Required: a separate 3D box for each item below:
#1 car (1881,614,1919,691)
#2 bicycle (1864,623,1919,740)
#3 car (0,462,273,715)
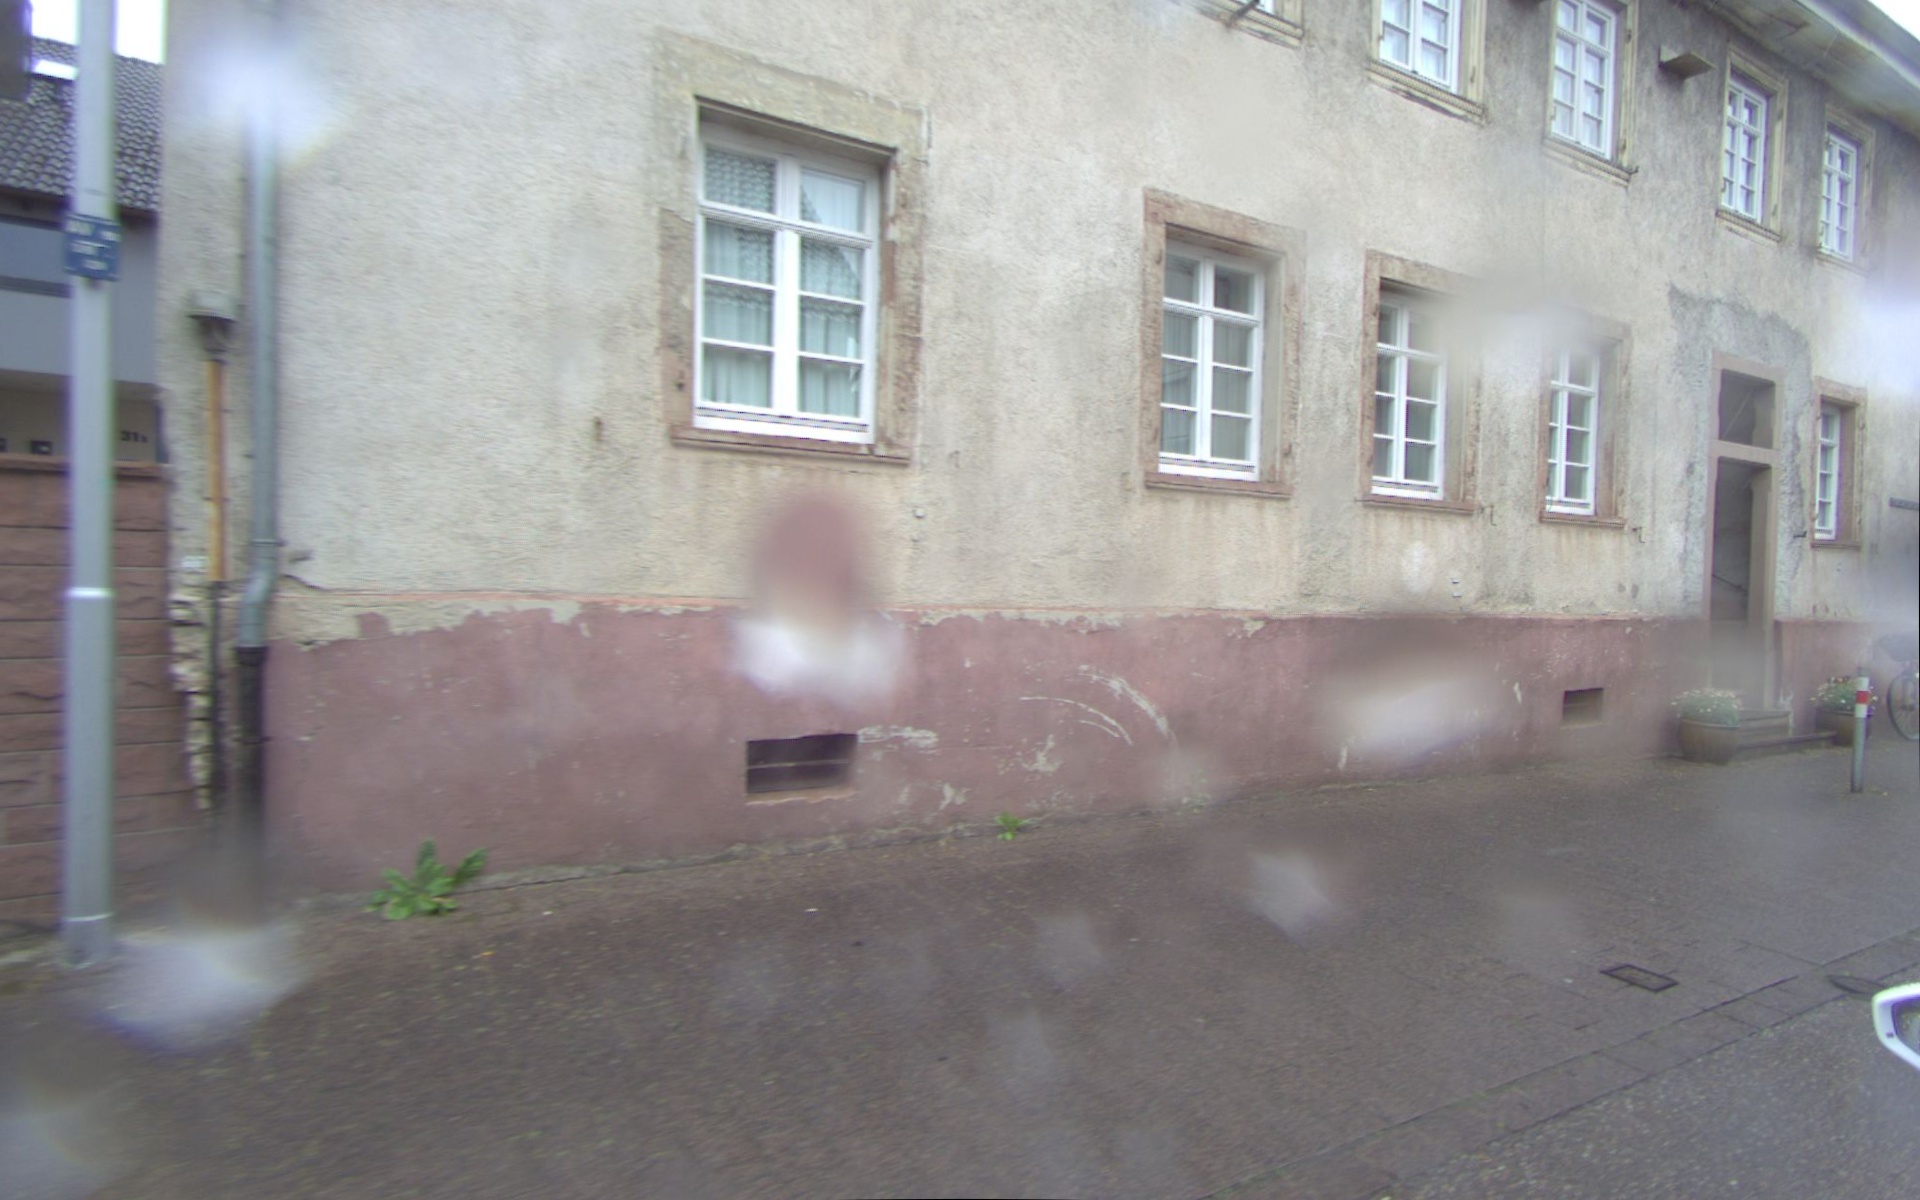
[{"bbox_3d":[18.822,1.016,17.673,1.574,1.394,3.515,1,1,-26],"label":"car"},{"bbox_3d":[10.736,0.880,11.079,1.812,1.196,0.481,2,2,-28],"label":"bicycle"},{"bbox_3d":[-7.655,-0.074,7.355,4.261,1.739,1.973,-3,3,-35],"label":"car"}]
